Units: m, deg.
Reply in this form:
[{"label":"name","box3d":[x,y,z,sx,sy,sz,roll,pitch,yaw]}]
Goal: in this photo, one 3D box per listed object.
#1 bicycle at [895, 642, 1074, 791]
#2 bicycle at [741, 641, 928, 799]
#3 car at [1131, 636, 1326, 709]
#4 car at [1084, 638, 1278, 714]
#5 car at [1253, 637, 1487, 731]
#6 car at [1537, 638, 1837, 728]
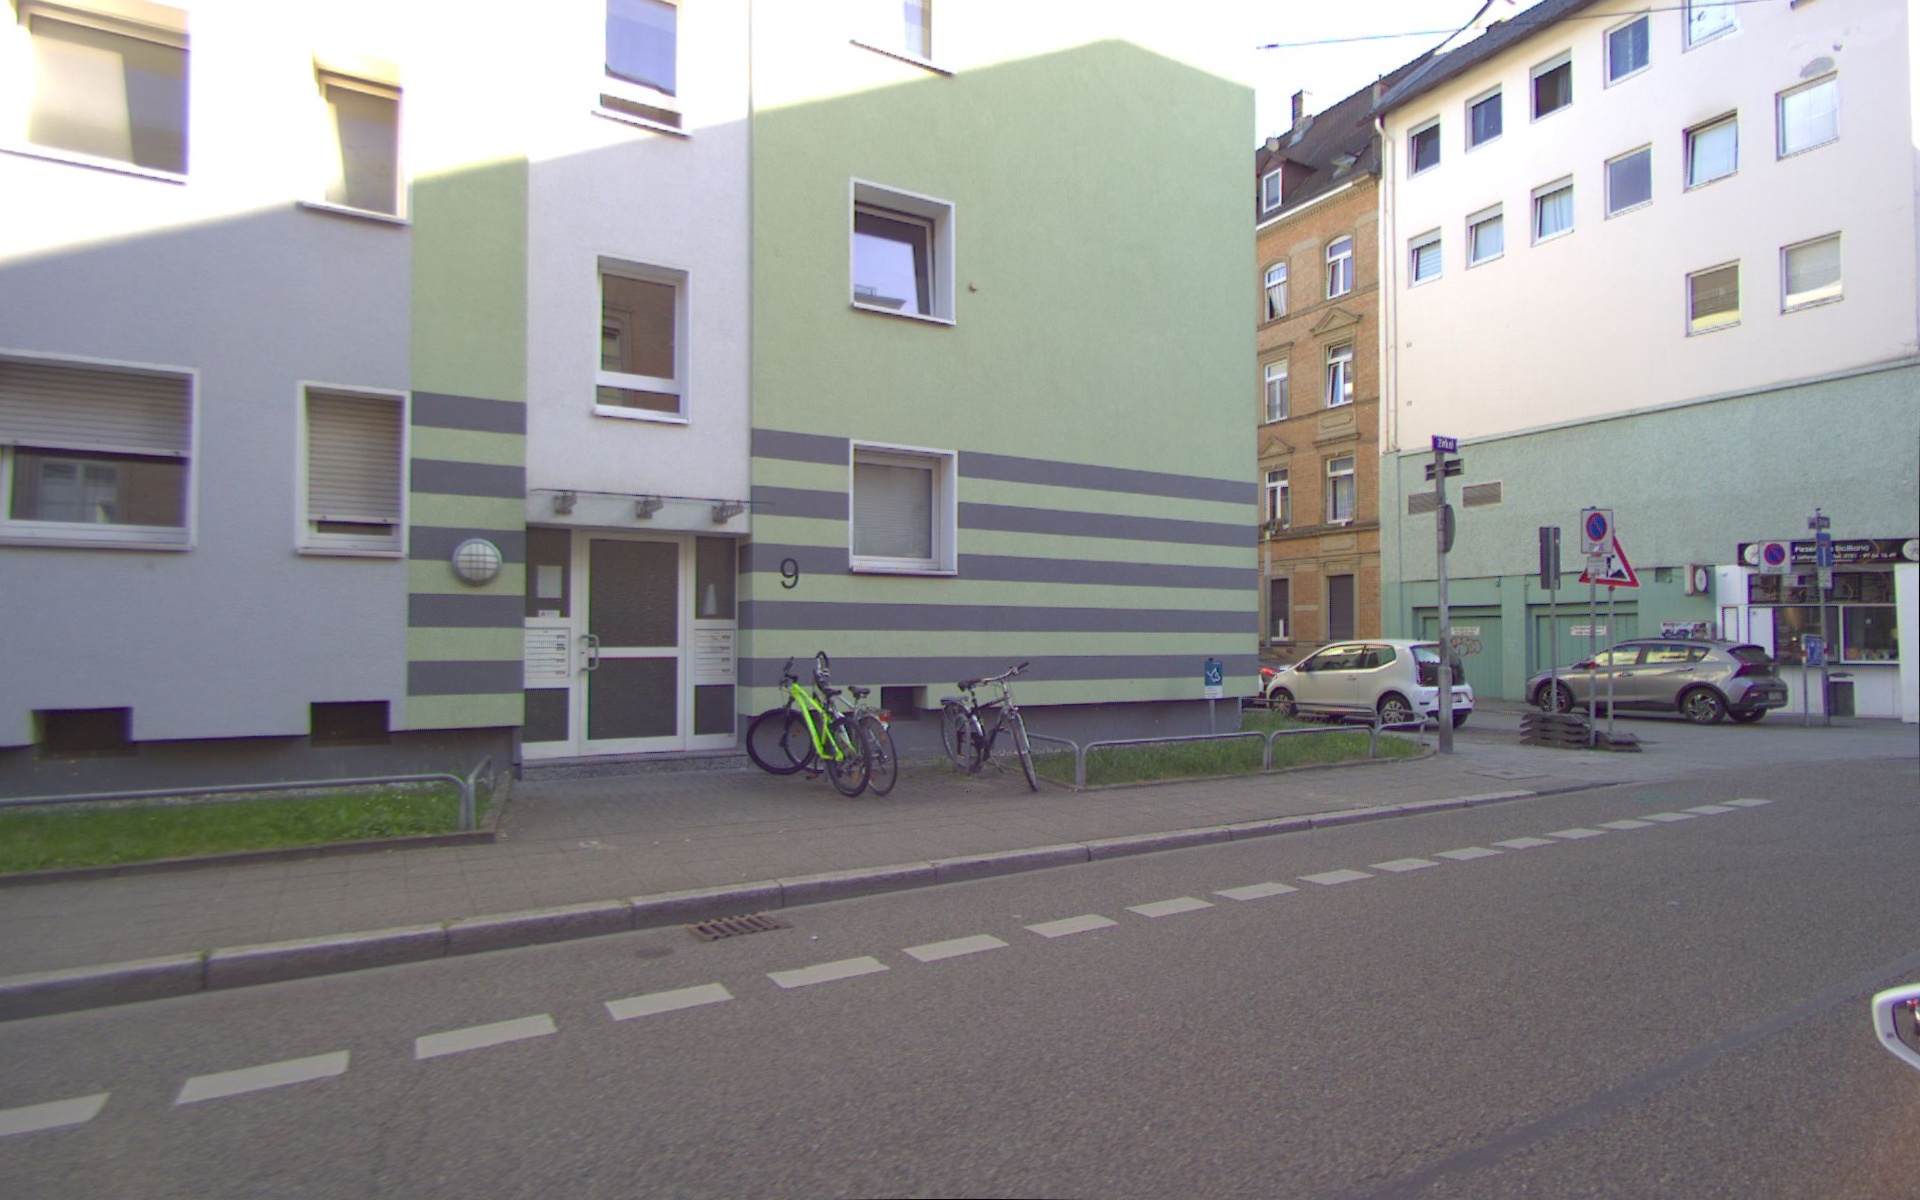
[{"label":"bicycle","box3d":[0.190,1.055,9.693,0.608,1.195,1.913,2,0,-39]},{"label":"bicycle","box3d":[-1.187,1.029,9.175,1.909,1.195,0.610,2,0,45]},{"label":"car","box3d":[6.341,1.658,24.278,1.975,1.562,4.596,1,-2,-28]},{"label":"car","box3d":[4.713,1.586,22.097,1.791,1.462,4.339,1,-2,-29]},{"label":"car","box3d":[7.108,1.408,17.733,1.791,1.462,3.487,1,-3,-28]},{"label":"car","box3d":[13.274,1.450,18.625,1.923,1.462,4.082,1,-3,-28]}]
